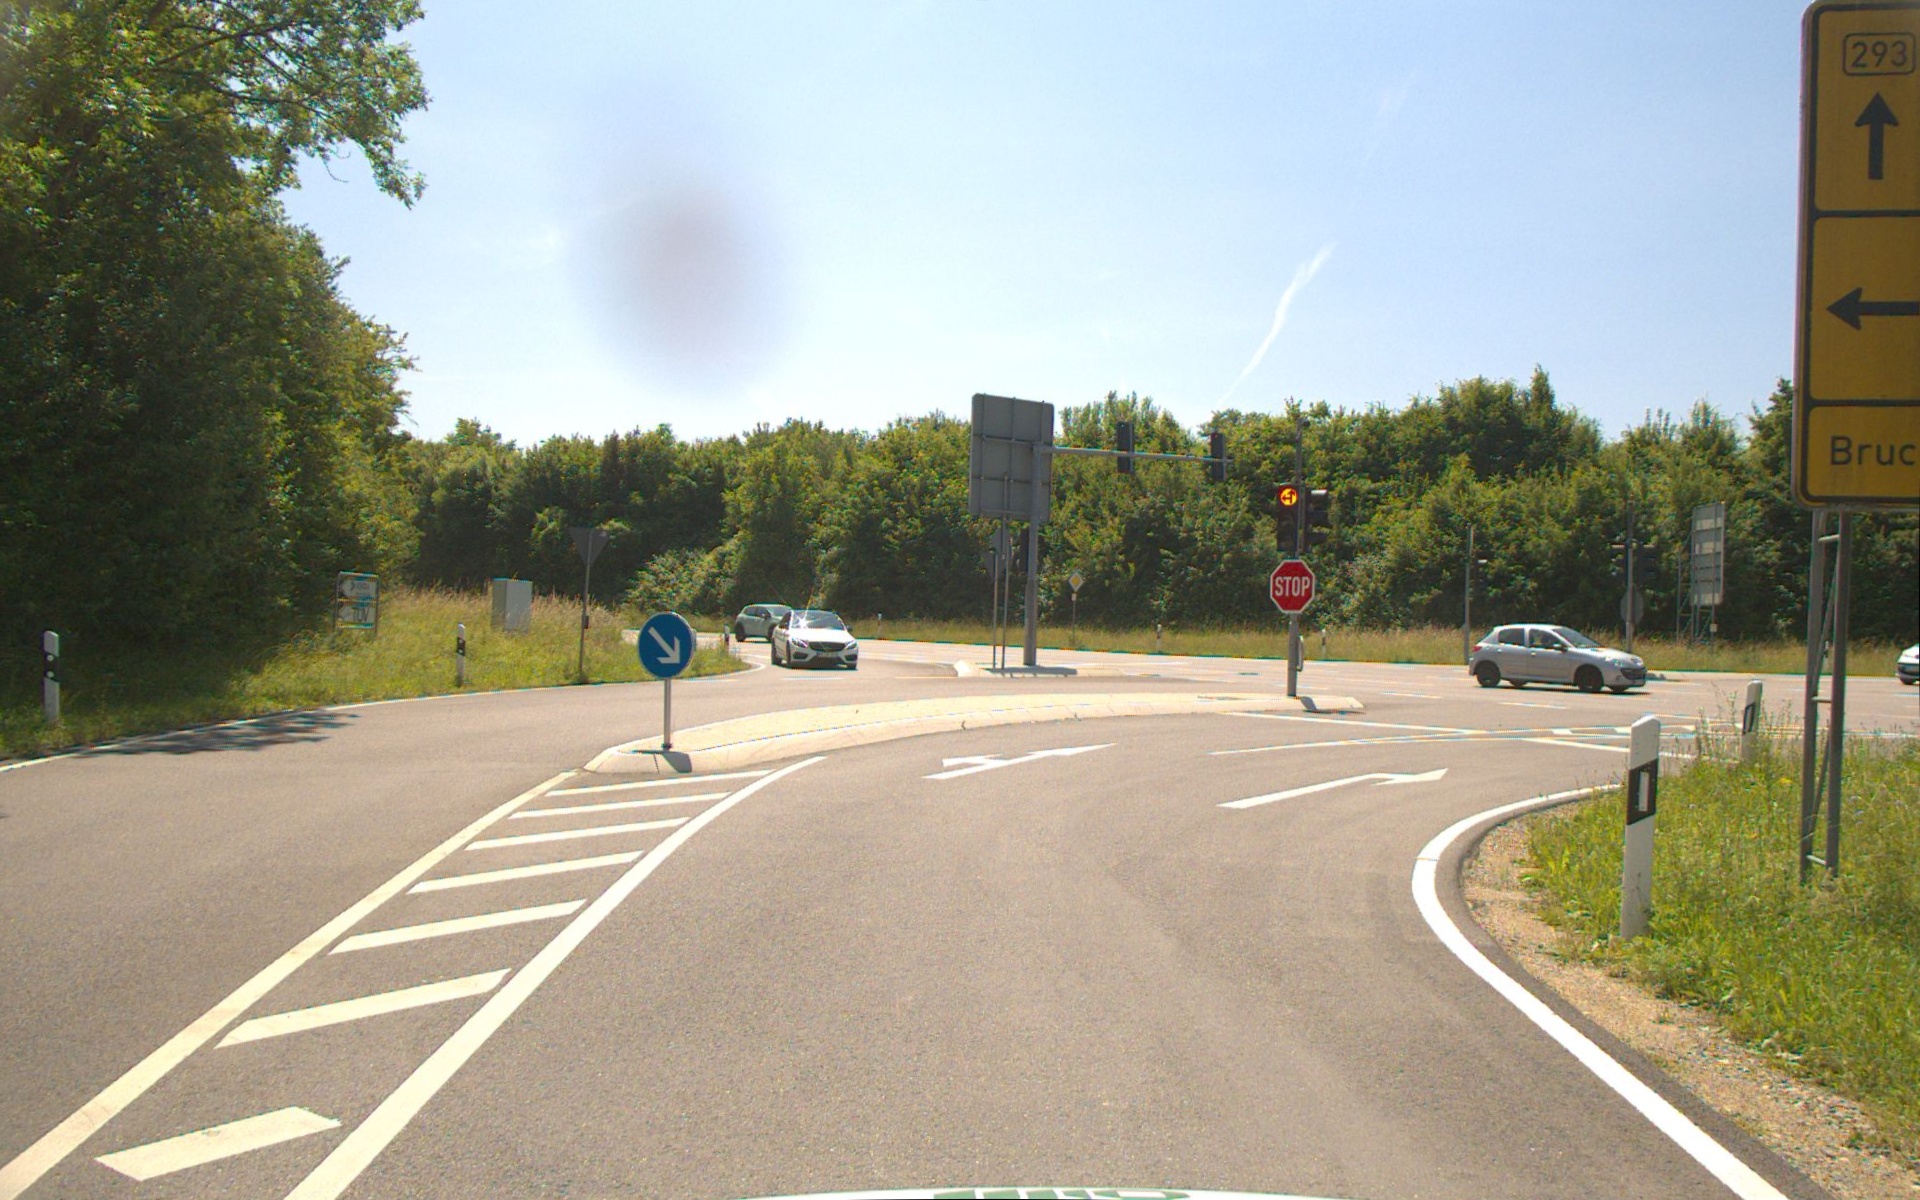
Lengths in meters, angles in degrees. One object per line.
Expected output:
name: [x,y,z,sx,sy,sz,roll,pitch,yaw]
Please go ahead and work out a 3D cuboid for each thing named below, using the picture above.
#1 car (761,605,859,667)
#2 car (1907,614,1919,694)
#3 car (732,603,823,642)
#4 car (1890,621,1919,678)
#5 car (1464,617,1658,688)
car: [-4.023,0.916,43.605,1.774,1.437,5.315,2,0,-14]
car: [21.767,1.109,33.638,3.960,1.653,1.820,0,-1,7]
car: [-7.332,0.877,66.095,1.719,1.429,3.927,0,1,-41]
car: [25.641,1.259,42.064,3.464,1.394,1.562,0,0,-18]
car: [13.416,1.132,37.035,1.804,1.438,3.722,0,0,-44]
